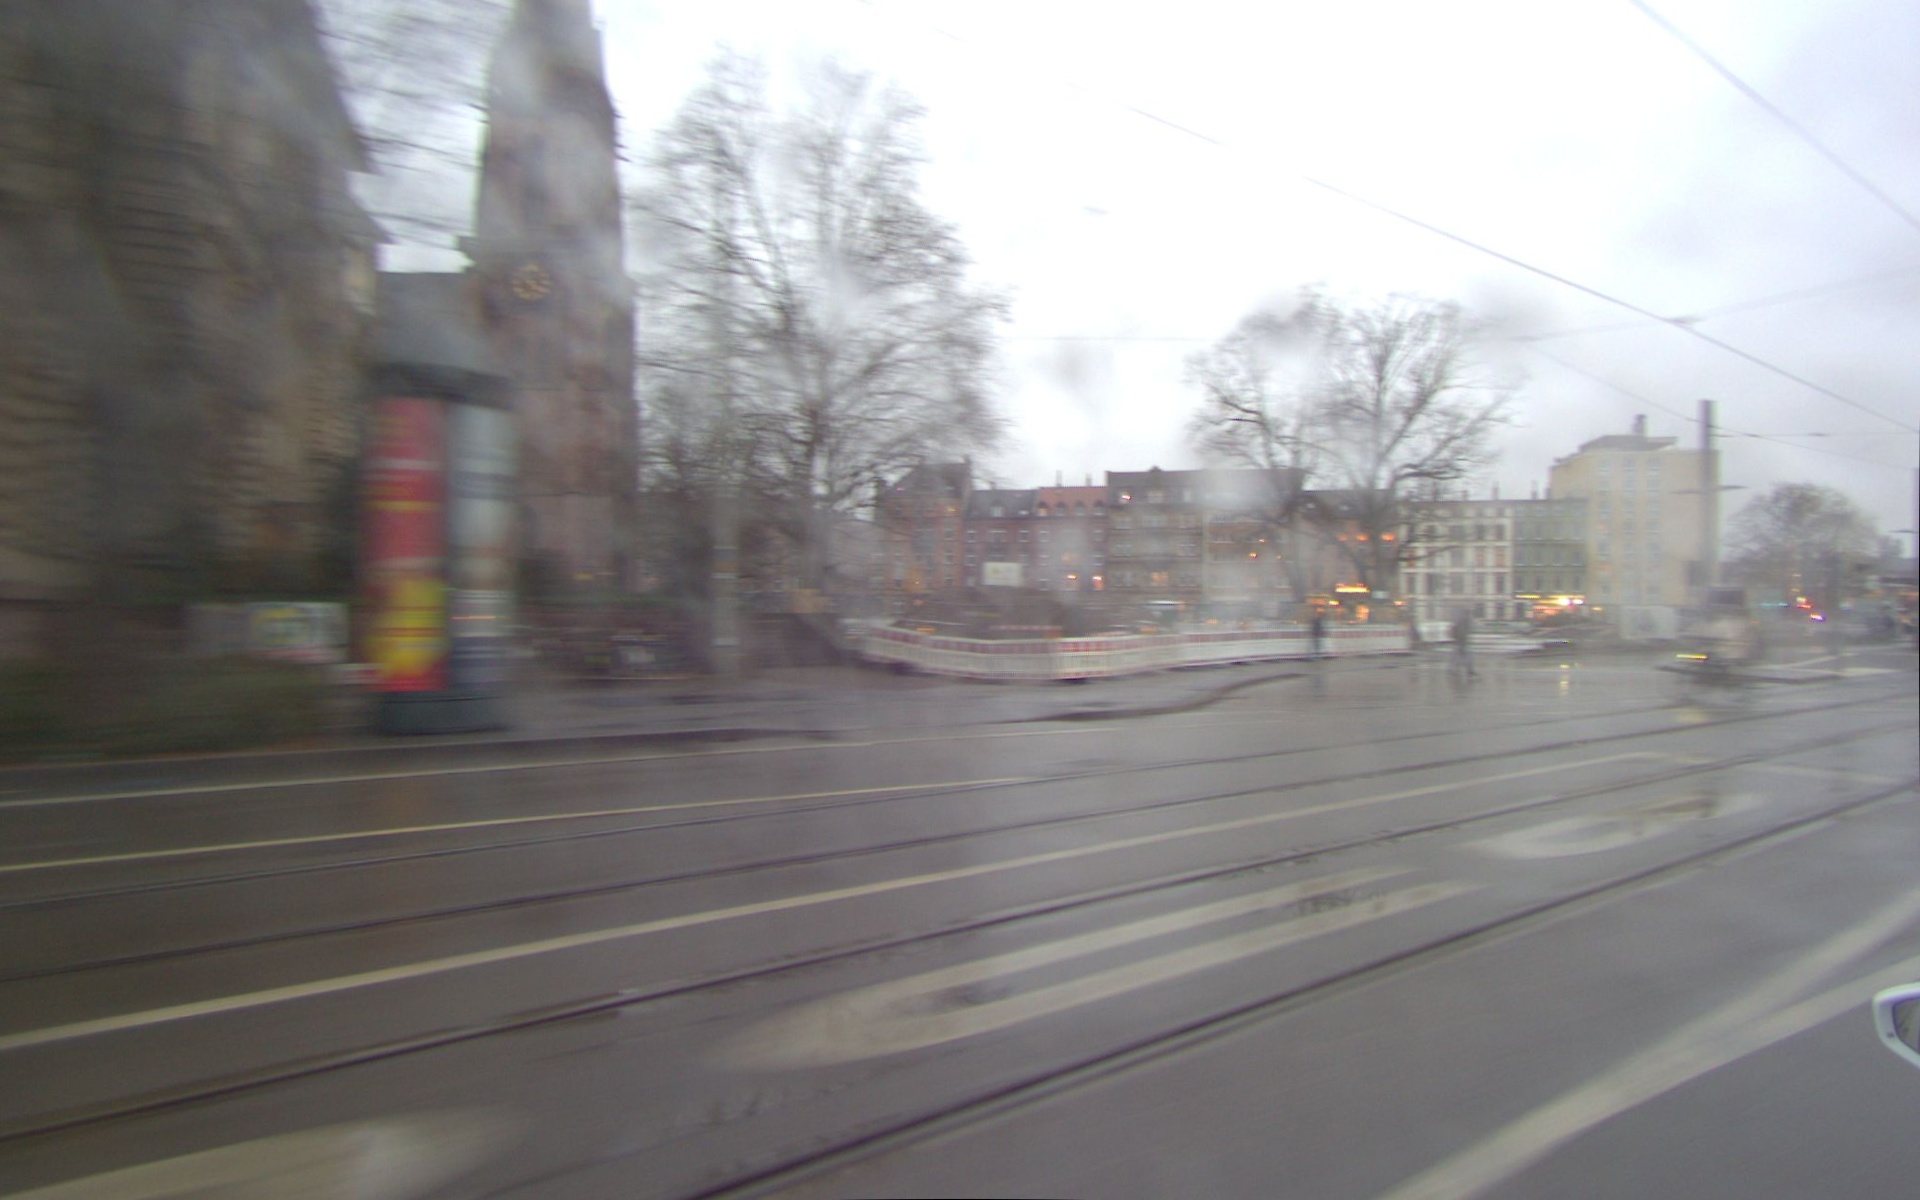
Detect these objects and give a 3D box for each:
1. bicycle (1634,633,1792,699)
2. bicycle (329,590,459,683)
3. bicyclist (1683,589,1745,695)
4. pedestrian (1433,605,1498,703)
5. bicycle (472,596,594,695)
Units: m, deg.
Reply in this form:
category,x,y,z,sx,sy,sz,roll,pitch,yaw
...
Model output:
category,x,y,z,sx,sy,sz,roll,pitch,yaw
bicycle,13.118,1.140,17.544,2.164,1.089,0.628,-1,1,8
bicycle,-11.177,0.677,19.956,0.699,1.711,2.430,2,1,17
bicyclist,13.140,0.710,17.522,0.577,1.791,0.612,2,1,10
pedestrian,12.914,1.360,25.682,1.044,2.402,0.996,2,1,-4
bicycle,-7.993,0.804,18.954,0.699,1.711,2.430,2,1,17
